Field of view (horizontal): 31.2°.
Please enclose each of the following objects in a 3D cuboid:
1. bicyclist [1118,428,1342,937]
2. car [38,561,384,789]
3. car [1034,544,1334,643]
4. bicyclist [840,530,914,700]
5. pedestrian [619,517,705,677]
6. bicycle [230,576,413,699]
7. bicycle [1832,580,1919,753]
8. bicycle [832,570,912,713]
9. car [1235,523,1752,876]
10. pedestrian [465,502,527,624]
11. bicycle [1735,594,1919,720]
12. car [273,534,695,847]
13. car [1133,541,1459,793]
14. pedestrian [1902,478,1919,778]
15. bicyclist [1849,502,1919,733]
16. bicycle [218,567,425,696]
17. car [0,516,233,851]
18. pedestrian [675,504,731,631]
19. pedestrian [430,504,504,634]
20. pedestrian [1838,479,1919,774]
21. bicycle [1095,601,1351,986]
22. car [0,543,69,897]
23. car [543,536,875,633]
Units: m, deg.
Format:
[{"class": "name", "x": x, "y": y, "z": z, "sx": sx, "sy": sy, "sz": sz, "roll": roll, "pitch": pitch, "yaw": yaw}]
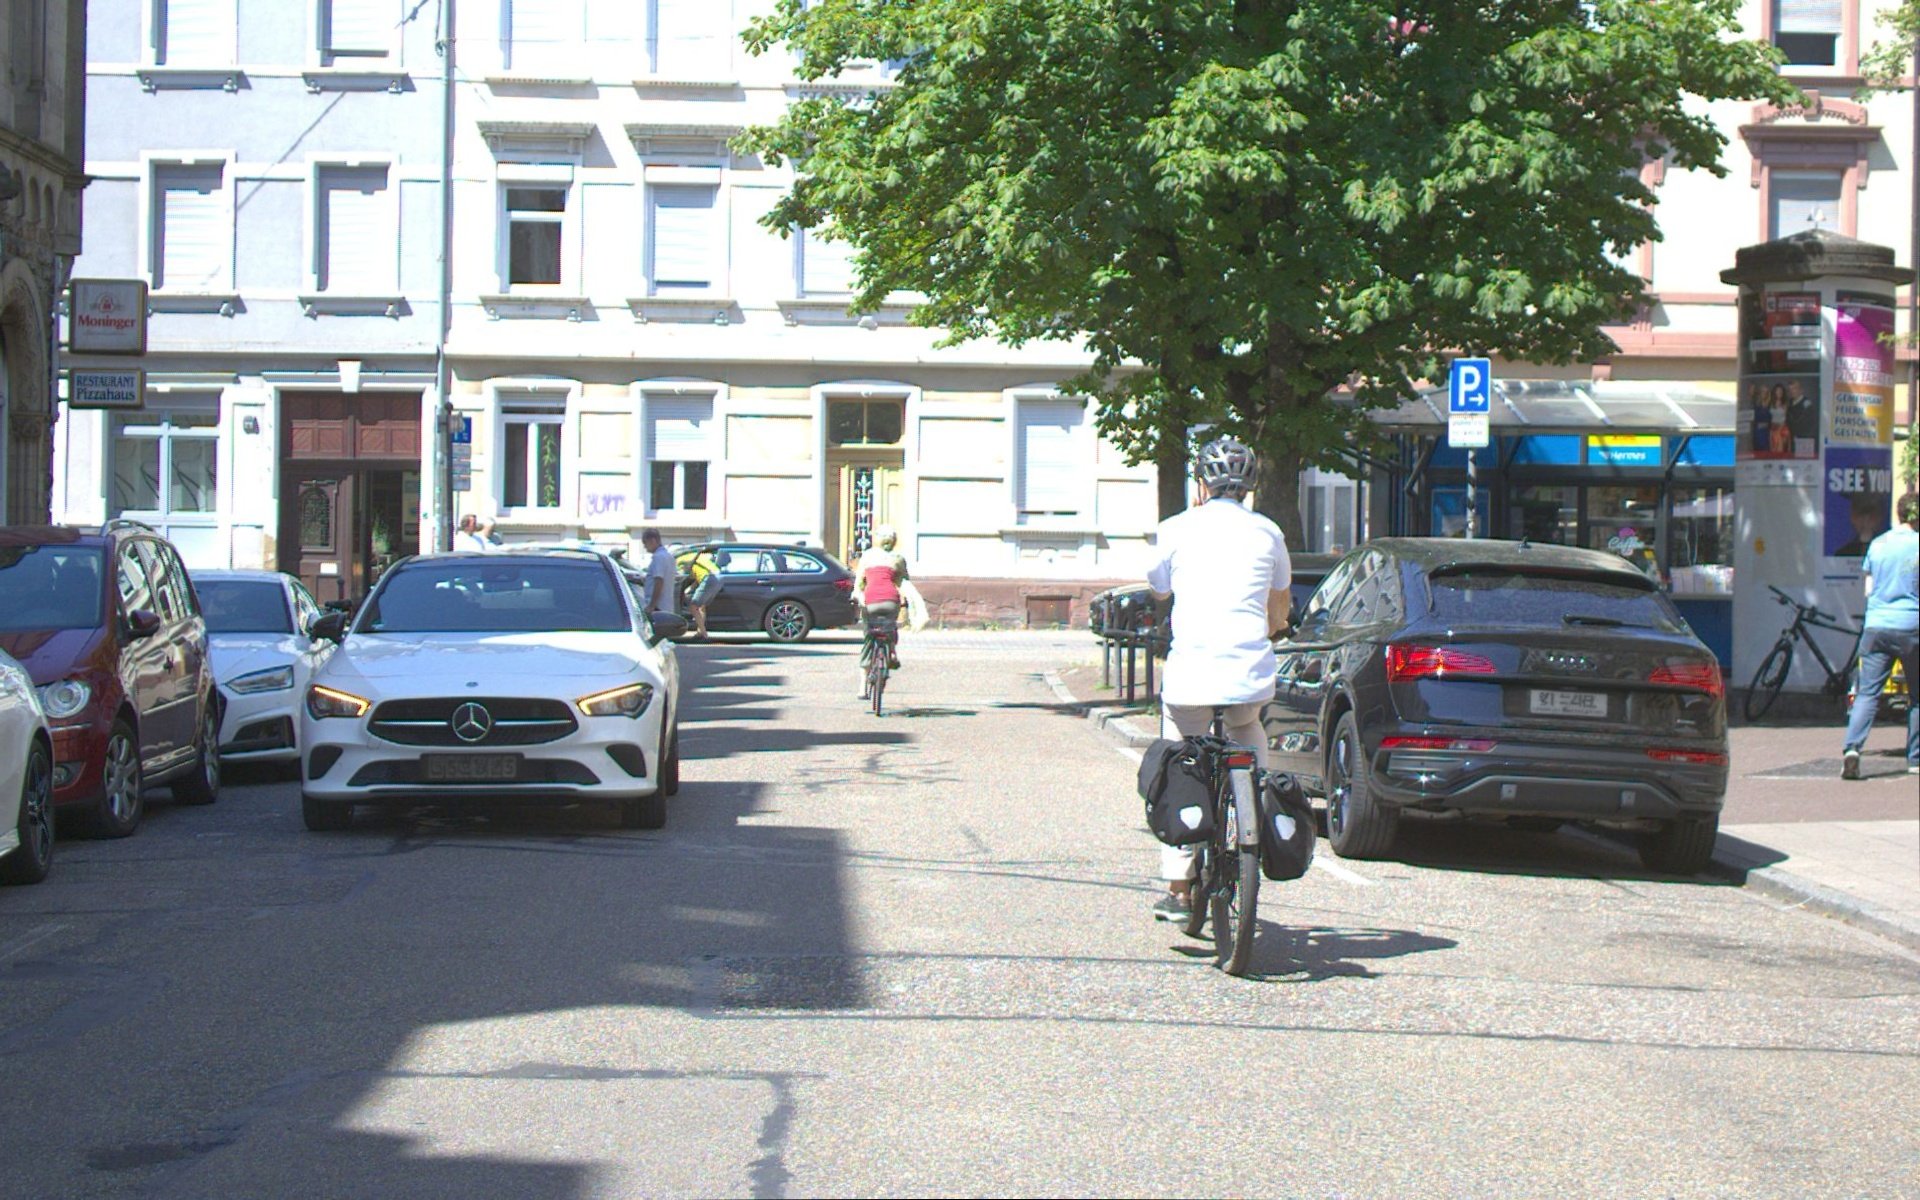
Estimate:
[{"class": "bicyclist", "x": 0.958, "y": 0.286, "z": 12.314, "sx": 0.670, "sy": 1.754, "sz": 0.609, "roll": 2, "pitch": 1, "yaw": -1}, {"class": "car", "x": -5.022, "y": 0.437, "z": 23.586, "sx": 1.701, "sy": 1.348, "sz": 4.516, "roll": -2, "pitch": 1, "yaw": -5}, {"class": "car", "x": 3.309, "y": -0.110, "z": 51.332, "sx": 4.293, "sy": 1.365, "sz": 1.807, "roll": 0, "pitch": 3, "yaw": -2}, {"class": "bicyclist", "x": -0.758, "y": 0.130, "z": 31.324, "sx": 0.670, "sy": 1.528, "sz": 0.609, "roll": 0, "pitch": 1, "yaw": -1}, {"class": "pedestrian", "x": -3.143, "y": -0.035, "z": 36.304, "sx": 0.857, "sy": 1.666, "sz": 0.774, "roll": 0, "pitch": 1, "yaw": -2}, {"class": "bicycle", "x": -5.644, "y": 0.328, "z": 30.415, "sx": 1.524, "sy": 1.004, "sz": 0.367, "roll": 3, "pitch": 1, "yaw": -6}, {"class": "bicycle", "x": 6.968, "y": 0.454, "z": 24.968, "sx": 0.795, "sy": 1.165, "sz": 2.575, "roll": 0, "pitch": 1, "yaw": 24}, {"class": "bicycle", "x": -0.792, "y": 0.353, "z": 31.270, "sx": 0.652, "sy": 1.205, "sz": 2.441, "roll": 2, "pitch": 1, "yaw": -1}, {"class": "car", "x": 2.690, "y": 0.430, "z": 18.348, "sx": 1.735, "sy": 1.591, "sz": 4.349, "roll": 3, "pitch": 1, "yaw": -4}, {"class": "pedestrian", "x": -6.952, "y": -0.555, "z": 51.549, "sx": 0.901, "sy": 1.808, "sz": 0.960, "roll": 0, "pitch": 1, "yaw": -7}, {"class": "bicycle", "x": 7.544, "y": 0.474, "z": 28.925, "sx": 1.900, "sy": 1.035, "sz": 0.634, "roll": 0, "pitch": 1, "yaw": -1}, {"class": "car", "x": -2.460, "y": 0.402, "z": 18.755, "sx": 1.841, "sy": 1.456, "sz": 4.363, "roll": -2, "pitch": 1, "yaw": -2}, {"class": "car", "x": 2.254, "y": 0.393, "z": 24.087, "sx": 1.663, "sy": 1.535, "sz": 4.178, "roll": 3, "pitch": 1, "yaw": -2}, {"class": "pedestrian", "x": 6.433, "y": 0.178, "z": 21.581, "sx": 0.880, "sy": 1.873, "sz": 0.601, "roll": 0, "pitch": 1, "yaw": -43}, {"class": "bicyclist", "x": 6.838, "y": 0.118, "z": 24.836, "sx": 0.678, "sy": 1.642, "sz": 0.661, "roll": 0, "pitch": 1, "yaw": 26}, {"class": "bicycle", "x": -5.559, "y": 0.272, "z": 29.968, "sx": 1.704, "sy": 1.041, "sz": 0.414, "roll": 3, "pitch": 0, "yaw": -6}, {"class": "car", "x": -5.026, "y": 0.382, "z": 18.291, "sx": 1.672, "sy": 1.577, "sz": 4.053, "roll": -2, "pitch": 1, "yaw": -4}, {"class": "pedestrian", "x": -3.755, "y": -0.474, "z": 50.191, "sx": 0.724, "sy": 1.847, "sz": 0.685, "roll": 0, "pitch": 1, "yaw": -12}, {"class": "pedestrian", "x": -7.239, "y": -0.457, "z": 50.493, "sx": 0.850, "sy": 1.882, "sz": 0.935, "roll": 0, "pitch": 1, "yaw": 8}, {"class": "pedestrian", "x": 6.084, "y": 0.165, "z": 22.146, "sx": 0.651, "sy": 1.862, "sz": 0.520, "roll": 0, "pitch": 1, "yaw": -38}, {"class": "bicycle", "x": 0.928, "y": 0.649, "z": 12.715, "sx": 0.652, "sy": 1.224, "sz": 2.442, "roll": 2, "pitch": 1, "yaw": -1}, {"class": "car", "x": -4.799, "y": 0.528, "z": 13.419, "sx": 1.776, "sy": 1.455, "sz": 4.280, "roll": -2, "pitch": 1, "yaw": -4}, {"class": "car", "x": -3.723, "y": -0.242, "z": 51.431, "sx": 4.859, "sy": 1.432, "sz": 2.000, "roll": 0, "pitch": 1, "yaw": -2}]
